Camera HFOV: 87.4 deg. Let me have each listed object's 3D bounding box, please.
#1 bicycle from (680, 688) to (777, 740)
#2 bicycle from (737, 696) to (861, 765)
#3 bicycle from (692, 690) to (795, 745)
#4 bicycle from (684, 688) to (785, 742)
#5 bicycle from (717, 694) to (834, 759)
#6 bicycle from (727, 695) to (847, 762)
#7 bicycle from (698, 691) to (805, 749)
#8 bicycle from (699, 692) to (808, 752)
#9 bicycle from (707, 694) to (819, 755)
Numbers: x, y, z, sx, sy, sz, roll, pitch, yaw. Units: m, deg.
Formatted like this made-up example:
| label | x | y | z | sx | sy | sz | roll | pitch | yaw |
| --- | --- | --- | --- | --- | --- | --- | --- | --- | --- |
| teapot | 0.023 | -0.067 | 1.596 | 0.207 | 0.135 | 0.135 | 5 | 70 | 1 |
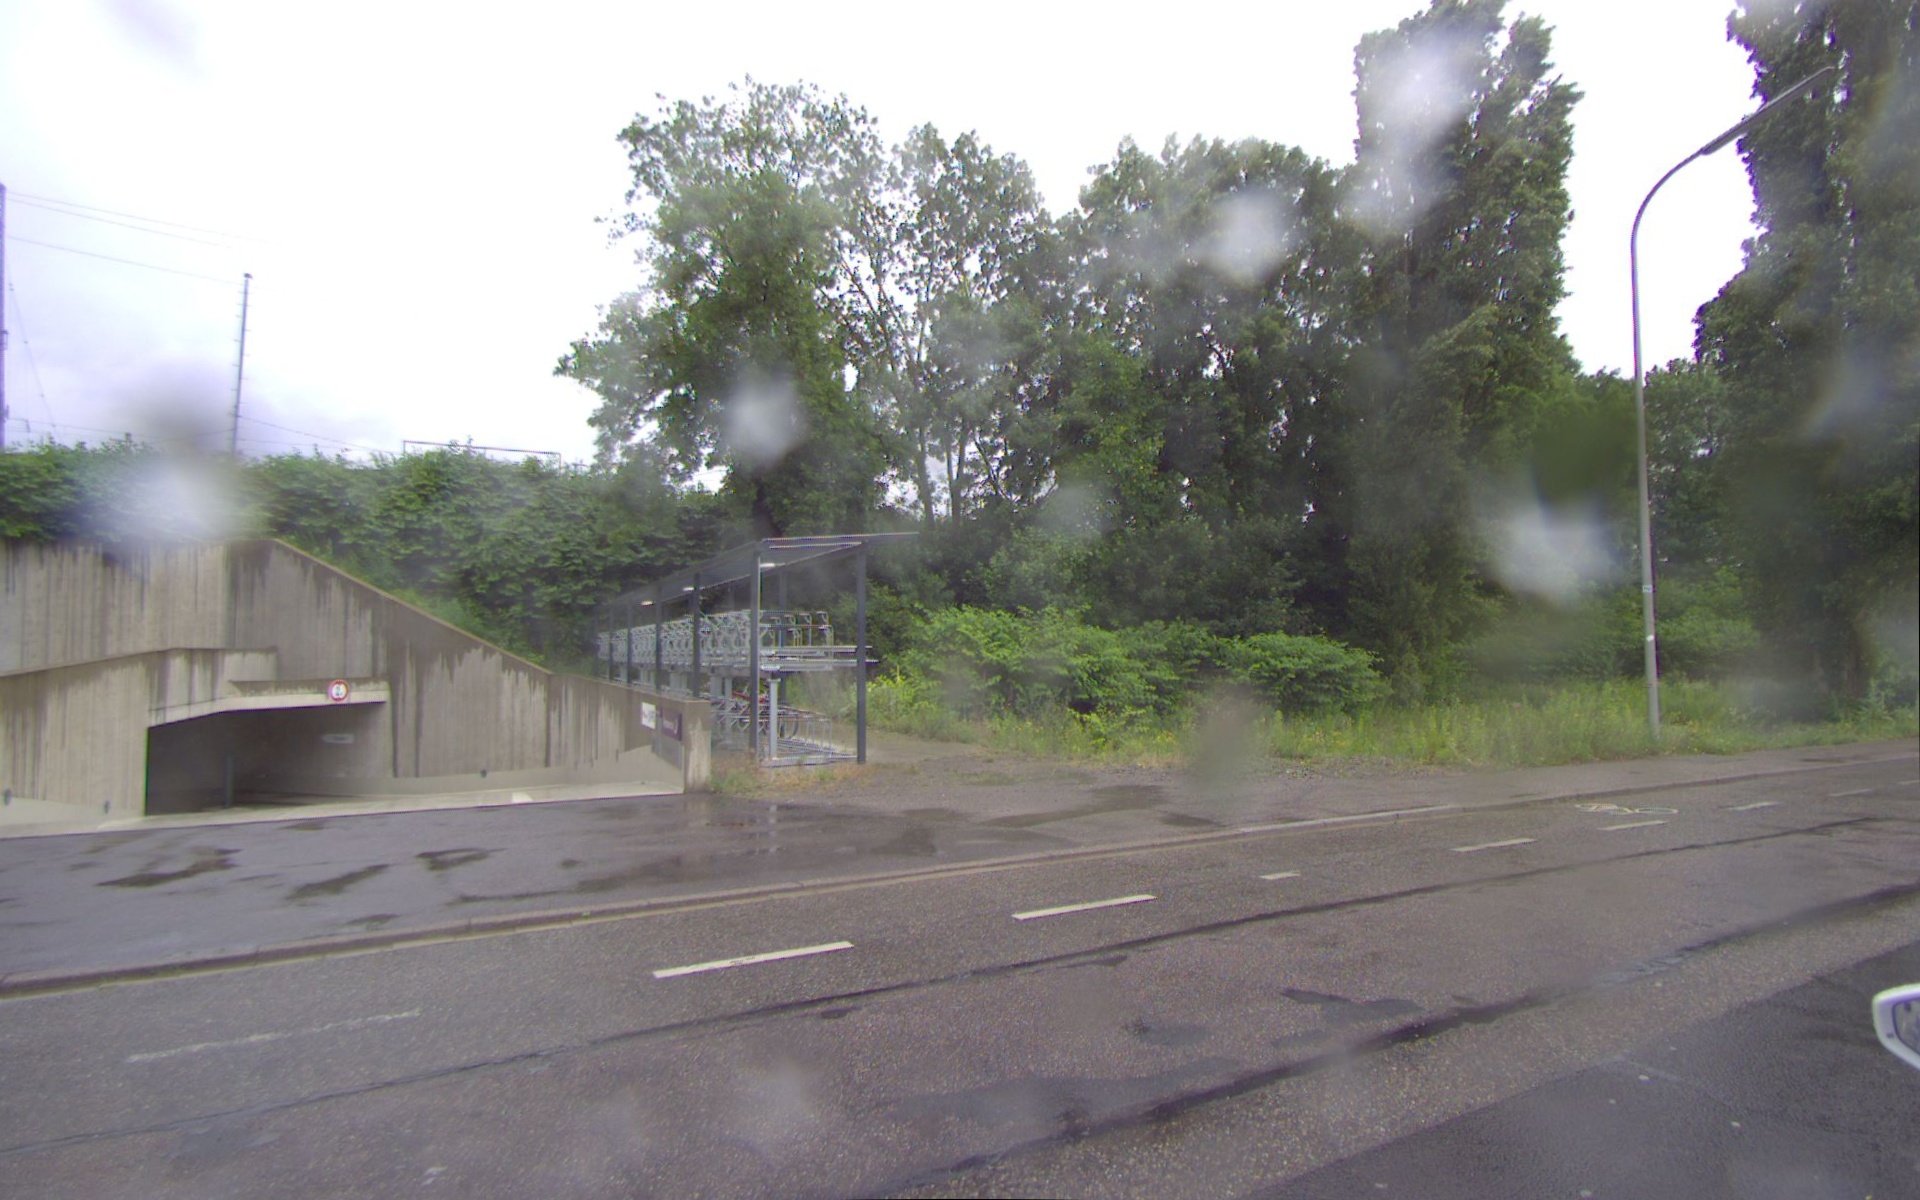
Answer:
| label | x | y | z | sx | sy | sz | roll | pitch | yaw |
| --- | --- | --- | --- | --- | --- | --- | --- | --- | --- |
| bicycle | -4.264 | 2.086 | 18.526 | 1.683 | 0.869 | 0.514 | 1 | -4 | -29 |
| bicycle | -2.256 | 1.812 | 14.140 | 1.651 | 0.869 | 0.514 | 1 | -4 | -29 |
| bicycle | -3.735 | 2.017 | 17.371 | 1.683 | 0.869 | 0.514 | 1 | -4 | -29 |
| bicycle | -4.001 | 2.033 | 17.862 | 1.683 | 0.869 | 0.514 | 1 | -4 | -29 |
| bicycle | -2.762 | 1.881 | 15.076 | 1.651 | 0.869 | 0.514 | 1 | -4 | -29 |
| bicycle | -2.513 | 1.845 | 14.618 | 1.651 | 0.869 | 0.514 | 1 | -4 | -29 |
| bicycle | -3.479 | 1.983 | 16.785 | 1.683 | 0.869 | 0.514 | 1 | -4 | -29 |
| bicycle | -3.333 | 1.958 | 16.263 | 1.651 | 0.869 | 0.514 | 1 | -4 | -29 |
| bicycle | -3.077 | 1.928 | 15.715 | 1.651 | 0.869 | 0.514 | 1 | -4 | -29 |
